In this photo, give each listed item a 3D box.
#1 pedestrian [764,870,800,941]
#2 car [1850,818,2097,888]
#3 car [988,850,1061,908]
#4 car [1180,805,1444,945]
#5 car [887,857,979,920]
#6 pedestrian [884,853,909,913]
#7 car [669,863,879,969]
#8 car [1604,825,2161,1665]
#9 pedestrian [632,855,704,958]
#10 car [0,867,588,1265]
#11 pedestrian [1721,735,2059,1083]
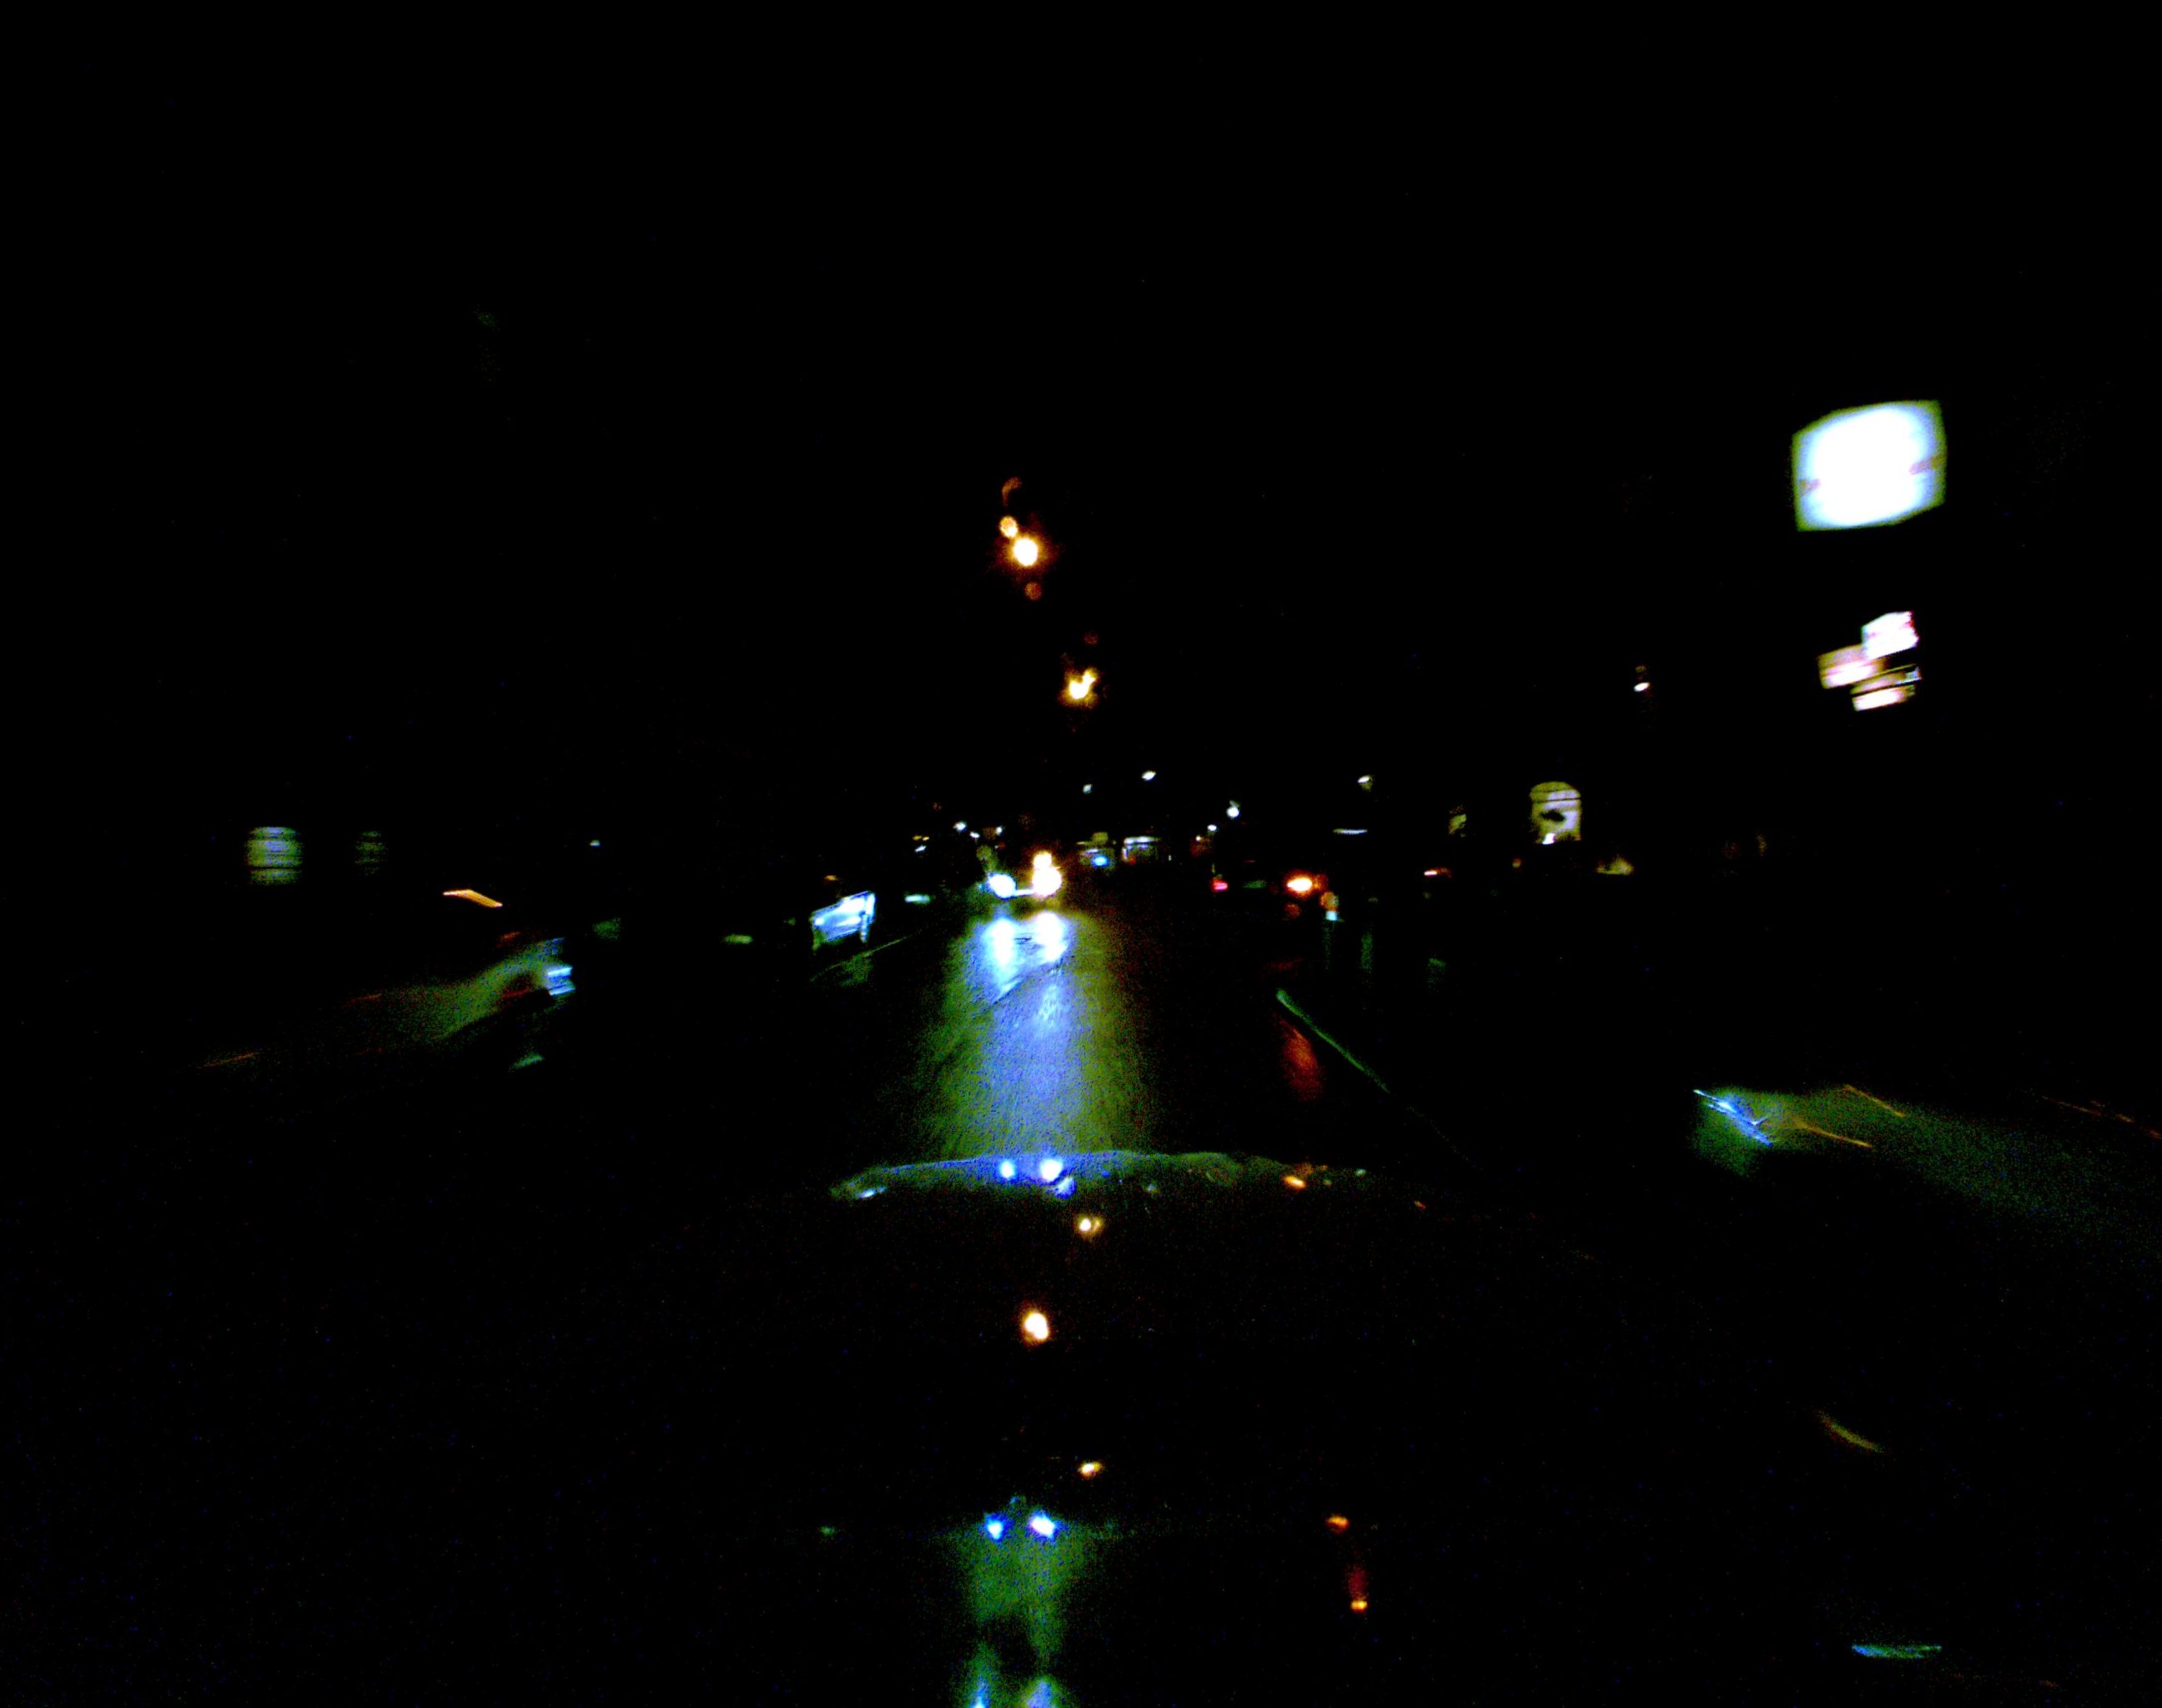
[{"bbox_3d":[-6.718,1.133,18.302,0.657,1.552,0.759,0,-1,-13],"label":"pedestrian"},{"bbox_3d":[22.249,-0.028,20.410,4.396,1.502,1.769,-2,0,-3],"label":"car"},{"bbox_3d":[-1.729,0.745,26.536,1.914,1.618,4.574,-4,0,0],"label":"car"},{"bbox_3d":[4.132,0.272,14.160,4.717,2.049,1.979,-2,0,-39],"label":"car"},{"bbox_3d":[-4.480,0.986,25.305,1.826,1.717,4.596,-2,0,2],"label":"car"},{"bbox_3d":[-6.172,0.950,27.287,0.654,1.974,0.769,0,-1,-2],"label":"pedestrian"},{"bbox_3d":[-5.156,0.952,14.460,1.826,1.486,4.596,-2,0,2],"label":"car"},{"bbox_3d":[2.773,0.643,0.828,1.911,1.412,4.000,-3,0,1],"label":"car"},{"bbox_3d":[-7.444,0.924,14.715,0.739,1.804,0.988,0,-1,5],"label":"pedestrian"},{"bbox_3d":[-5.253,0.930,5.232,1.738,1.588,3.767,-2,0,2],"label":"car"},{"bbox_3d":[4.703,0.289,4.853,0.858,1.788,1.084,-4,0,5],"label":"pedestrian"}]
